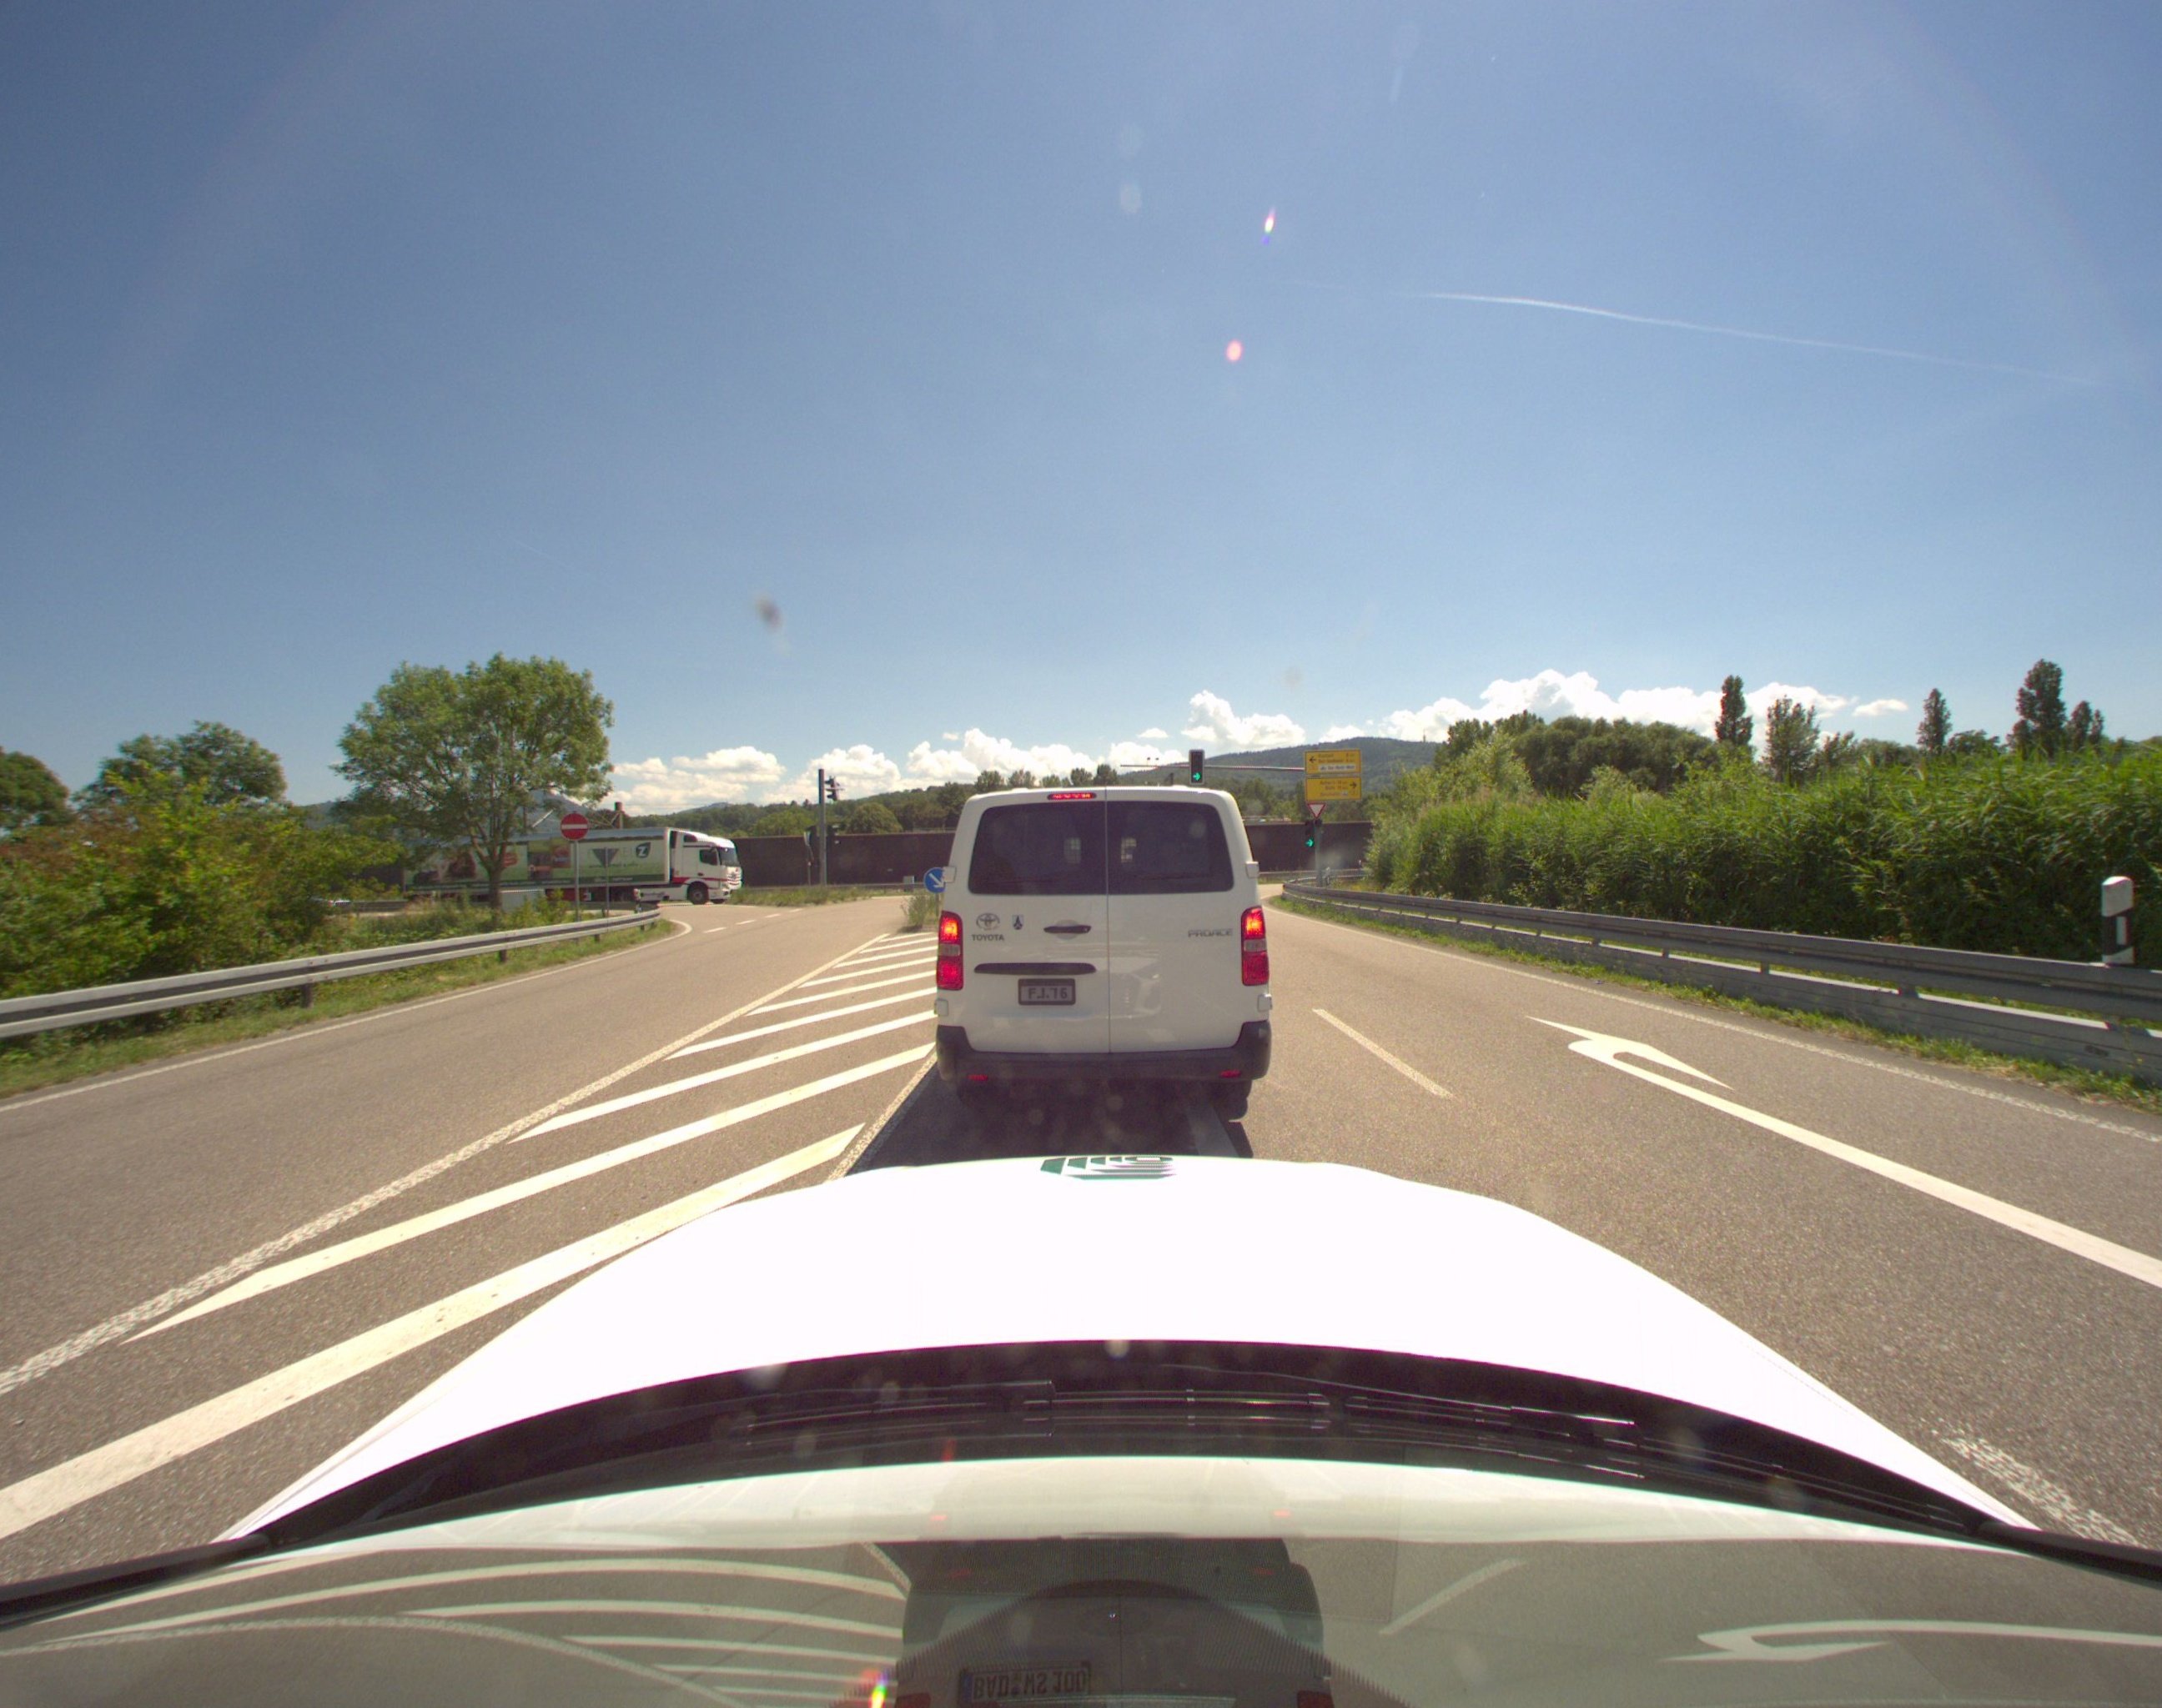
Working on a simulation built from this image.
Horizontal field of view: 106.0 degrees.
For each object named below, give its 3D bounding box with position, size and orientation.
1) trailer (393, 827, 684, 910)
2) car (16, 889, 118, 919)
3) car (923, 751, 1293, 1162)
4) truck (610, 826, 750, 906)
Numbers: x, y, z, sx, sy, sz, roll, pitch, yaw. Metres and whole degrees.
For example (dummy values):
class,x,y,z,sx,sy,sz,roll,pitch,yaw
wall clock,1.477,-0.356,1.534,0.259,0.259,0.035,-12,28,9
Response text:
class,x,y,z,sx,sy,sz,roll,pitch,yaw
trailer,-28.208,0.742,42.741,13.098,3.954,3.061,-1,-1,0
car,-53.890,2.644,43.311,3.462,1.464,1.554,-1,-1,0
car,0.190,0.526,6.062,1.808,2.018,4.001,-1,-1,2
truck,-20.950,0.606,42.797,5.746,3.954,3.062,-1,-1,0
